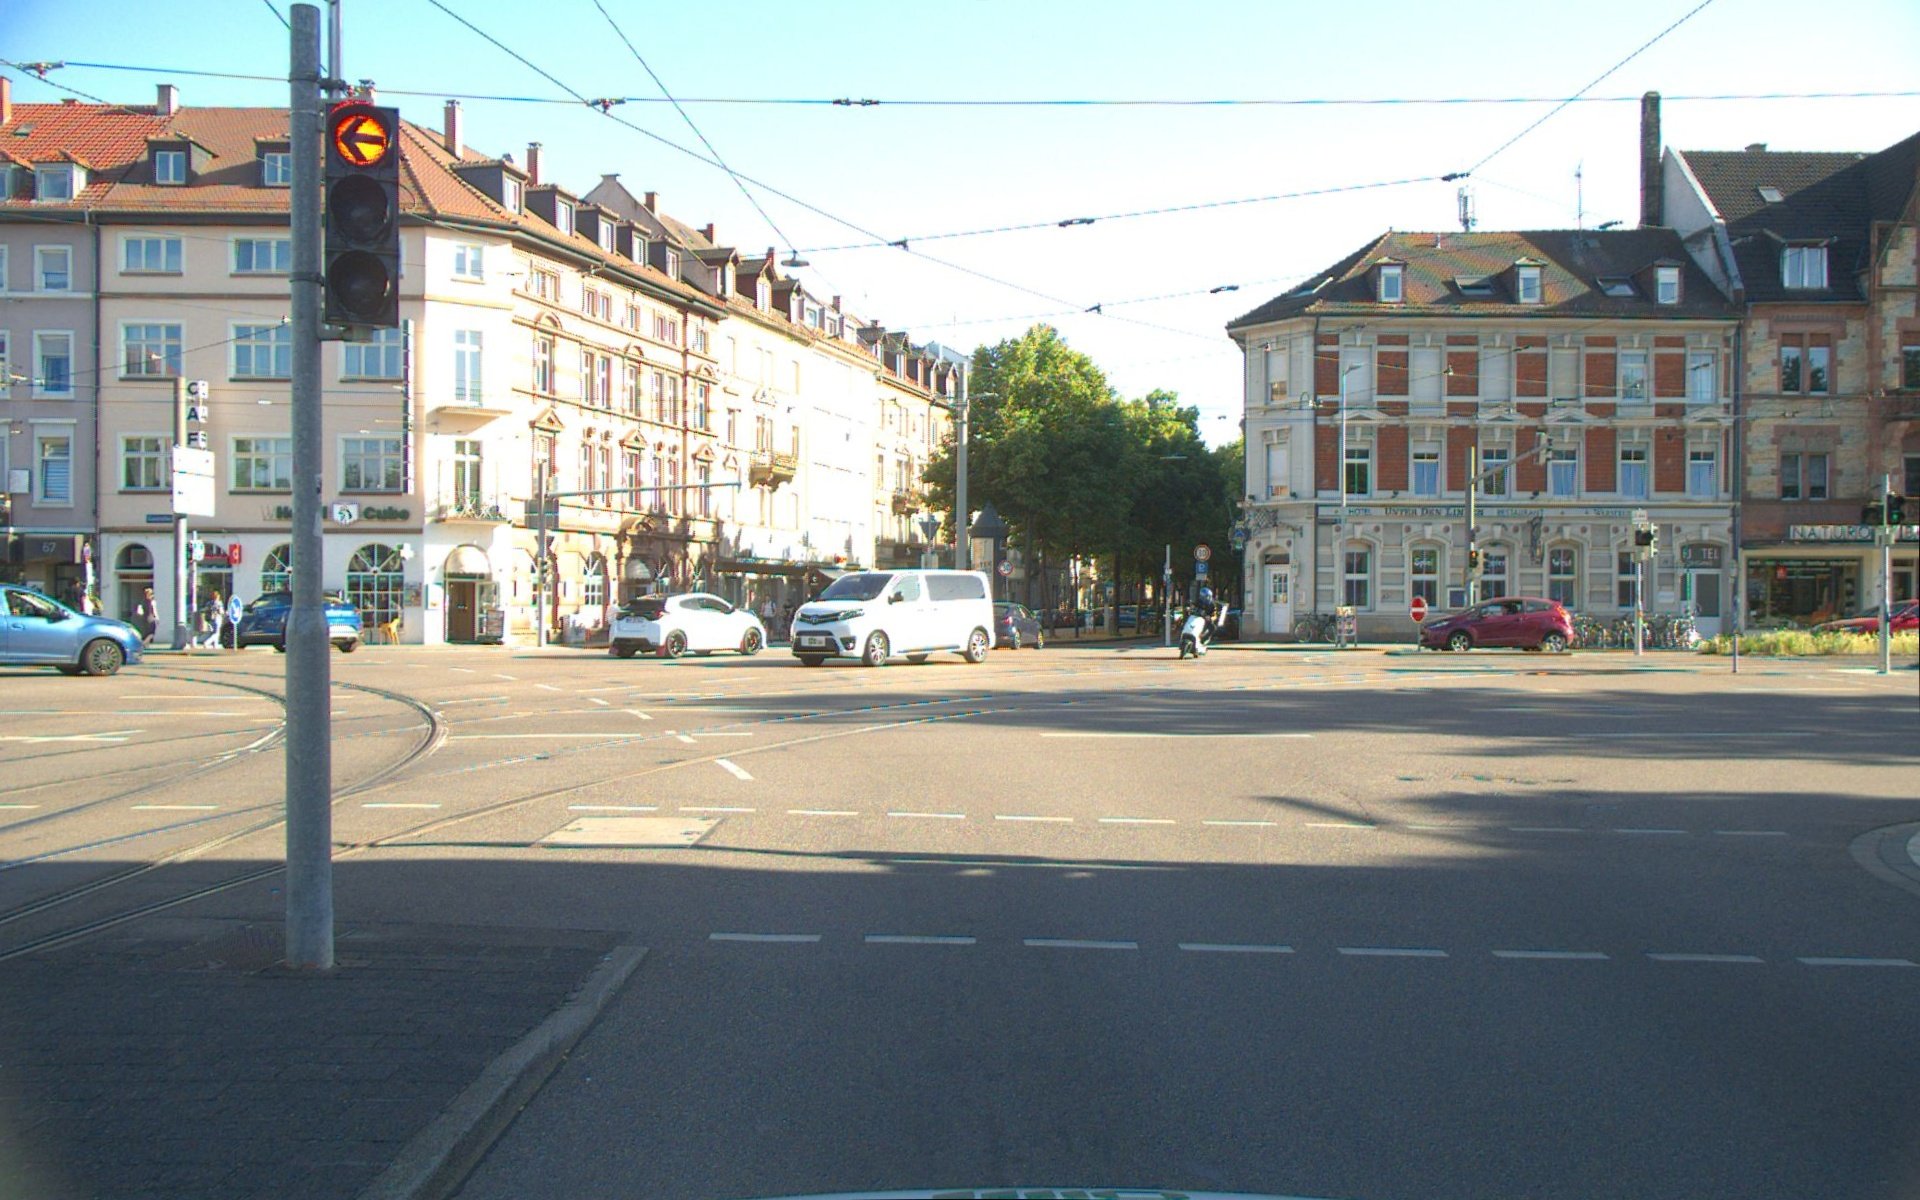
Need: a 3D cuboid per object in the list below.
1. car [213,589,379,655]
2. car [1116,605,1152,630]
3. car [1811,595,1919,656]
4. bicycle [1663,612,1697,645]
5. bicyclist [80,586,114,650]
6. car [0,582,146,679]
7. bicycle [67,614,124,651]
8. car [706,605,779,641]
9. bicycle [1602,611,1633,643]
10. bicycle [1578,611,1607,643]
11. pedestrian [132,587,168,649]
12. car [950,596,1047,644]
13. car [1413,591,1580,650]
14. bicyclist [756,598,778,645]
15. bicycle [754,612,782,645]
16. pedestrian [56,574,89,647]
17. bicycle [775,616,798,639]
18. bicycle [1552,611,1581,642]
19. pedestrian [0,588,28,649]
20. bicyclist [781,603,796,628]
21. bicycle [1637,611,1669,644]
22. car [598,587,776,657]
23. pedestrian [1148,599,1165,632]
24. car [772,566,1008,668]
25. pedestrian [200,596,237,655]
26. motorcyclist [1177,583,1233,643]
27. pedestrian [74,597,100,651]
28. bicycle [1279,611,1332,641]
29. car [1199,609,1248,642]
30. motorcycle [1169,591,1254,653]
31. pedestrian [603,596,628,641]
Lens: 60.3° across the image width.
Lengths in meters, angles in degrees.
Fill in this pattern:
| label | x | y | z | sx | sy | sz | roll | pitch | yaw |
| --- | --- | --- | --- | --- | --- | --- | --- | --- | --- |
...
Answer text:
| label | x | y | z | sx | sy | sz | roll | pitch | yaw |
| --- | --- | --- | --- | --- | --- | --- | --- | --- | --- |
| car | -17.026 | 0.526 | 42.376 | 4.108 | 1.602 | 1.827 | 1 | 0 | 31 |
| car | 12.318 | 1.220 | 116.792 | 1.951 | 1.713 | 4.003 | 1 | 0 | 15 |
| car | 24.985 | 0.651 | 43.046 | 4.759 | 1.495 | 1.803 | 0 | 1 | 0 |
| bicycle | 23.296 | 0.899 | 53.522 | 0.775 | 1.033 | 2.211 | 1 | 0 | 17 |
| bicyclist | -25.103 | 0.526 | 48.098 | 0.608 | 1.822 | 0.615 | 1 | -1 | 4 |
| car | -15.602 | 0.495 | 26.941 | 3.887 | 1.530 | 1.762 | 0 | -1 | -43 |
| bicycle | -25.111 | 0.927 | 48.076 | 0.608 | 1.048 | 1.755 | 1 | 0 | 4 |
| car | -8.998 | 0.939 | 68.724 | 1.624 | 1.398 | 3.894 | 1 | 0 | 14 |
| bicycle | 21.338 | 0.880 | 53.718 | 0.749 | 1.001 | 2.211 | 1 | 0 | 17 |
| bicycle | 20.559 | 0.867 | 53.811 | 0.749 | 0.985 | 2.211 | 1 | 0 | 17 |
| pedestrian | -22.311 | 0.496 | 45.568 | 0.571 | 1.677 | 0.840 | 1 | -1 | -1 |
| car | 1.233 | 0.582 | 51.440 | 1.788 | 1.428 | 4.000 | 0 | 0 | 21 |
| car | 13.830 | 0.506 | 42.761 | 3.790 | 1.451 | 1.595 | 1 | 1 | -1 |
| bicyclist | -7.565 | 0.833 | 64.965 | 0.553 | 1.835 | 0.915 | 1 | -1 | 14 |
| bicycle | -7.552 | 1.107 | 64.996 | 0.553 | 1.276 | 1.558 | 1 | 0 | 14 |
| pedestrian | -22.784 | 0.267 | 42.471 | 0.517 | 1.854 | 0.675 | 1 | -1 | -9 |
| bicycle | -7.248 | 1.130 | 69.181 | 0.462 | 0.938 | 1.453 | 1 | 0 | 14 |
| bicycle | 19.785 | 0.853 | 53.984 | 0.749 | 0.979 | 2.211 | 1 | 0 | 17 |
| pedestrian | -23.928 | 0.469 | 41.718 | 0.481 | 1.518 | 0.556 | 1 | -1 | -1 |
| bicyclist | -7.203 | 0.644 | 69.349 | 0.462 | 1.058 | 0.538 | 1 | -1 | 14 |
| bicycle | 22.455 | 0.886 | 53.639 | 0.749 | 1.025 | 2.221 | 1 | 0 | 17 |
| car | -6.258 | 0.472 | 38.233 | 1.859 | 1.479 | 3.997 | 0 | 1 | 33 |
| pedestrian | 12.432 | 0.988 | 104.787 | 0.925 | 2.049 | 0.825 | 1 | -1 | -4 |
| car | -1.313 | 0.275 | 33.509 | 1.961 | 1.886 | 5.194 | 0 | 1 | 37 |
| pedestrian | -20.460 | 0.696 | 45.646 | 0.655 | 1.622 | 0.815 | 1 | -1 | -1 |
| motorcyclist | 5.521 | 0.289 | 37.239 | 1.010 | 1.323 | 0.776 | 1 | -1 | -45 |
| pedestrian | -23.534 | 0.633 | 44.602 | 0.394 | 1.444 | 0.625 | 1 | -1 | -6 |
| bicycle | 11.977 | 0.901 | 57.300 | 1.764 | 0.979 | 0.604 | 1 | 0 | 14 |
| car | 13.184 | 1.270 | 82.671 | 1.719 | 1.583 | 4.001 | 1 | 0 | 20 |
| motorcycle | 5.667 | 0.497 | 37.197 | 2.126 | 1.357 | 0.784 | 1 | -1 | -45 |
| pedestrian | -13.063 | 0.704 | 62.649 | 0.556 | 1.671 | 0.792 | 1 | -1 | 22 |
